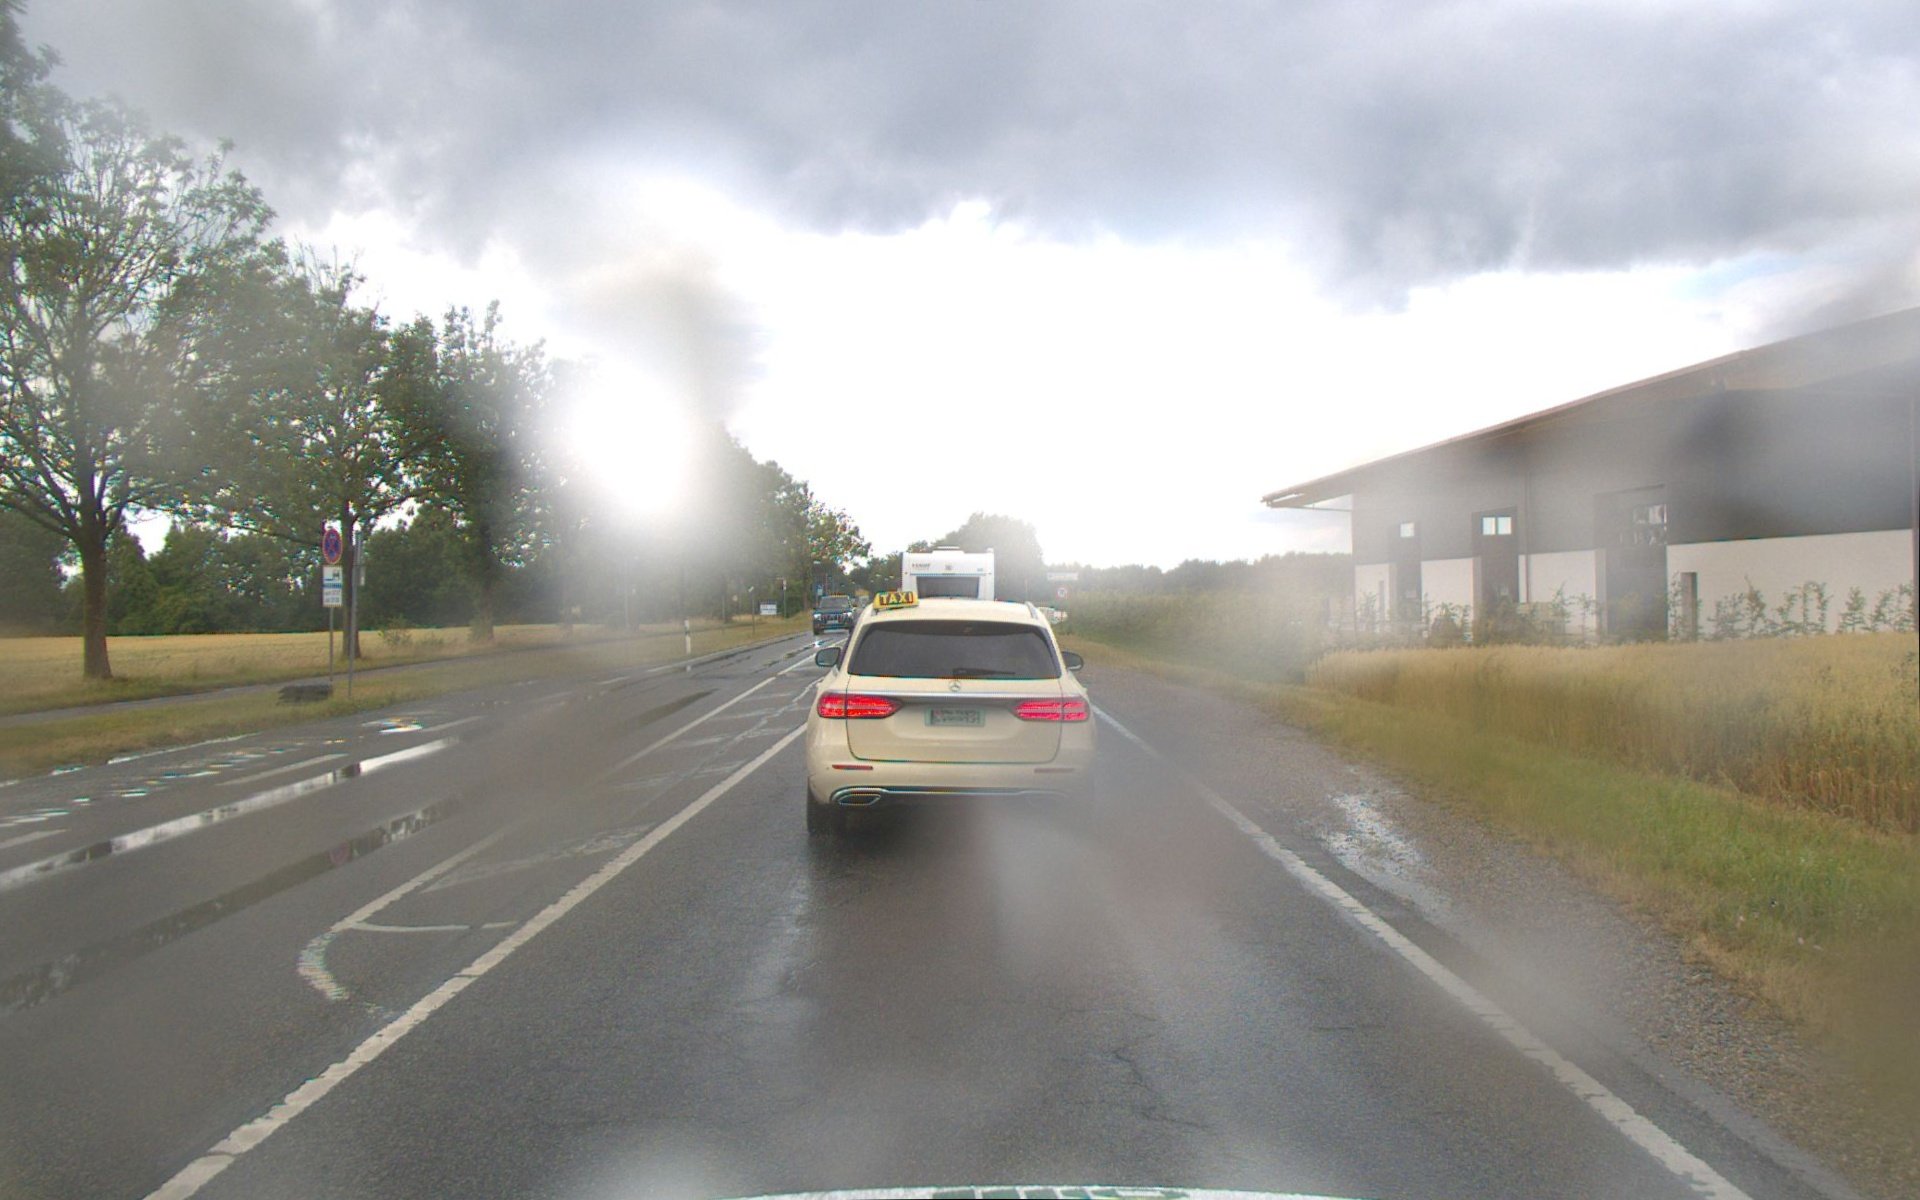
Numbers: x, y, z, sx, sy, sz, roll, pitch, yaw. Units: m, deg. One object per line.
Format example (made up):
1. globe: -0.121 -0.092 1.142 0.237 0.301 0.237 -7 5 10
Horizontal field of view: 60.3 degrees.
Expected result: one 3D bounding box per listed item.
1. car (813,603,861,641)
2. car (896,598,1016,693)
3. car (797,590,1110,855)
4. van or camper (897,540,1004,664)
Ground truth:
1. car: -5.572 0.977 75.228 1.877 1.660 4.356 0 0 -1
2. car: -0.100 0.701 27.523 1.856 1.454 3.927 0 0 -1
3. car: -0.045 0.686 11.333 1.760 1.490 4.030 0 0 0
4. van or camper: -0.220 0.045 42.286 2.446 2.880 5.933 -2 0 0
